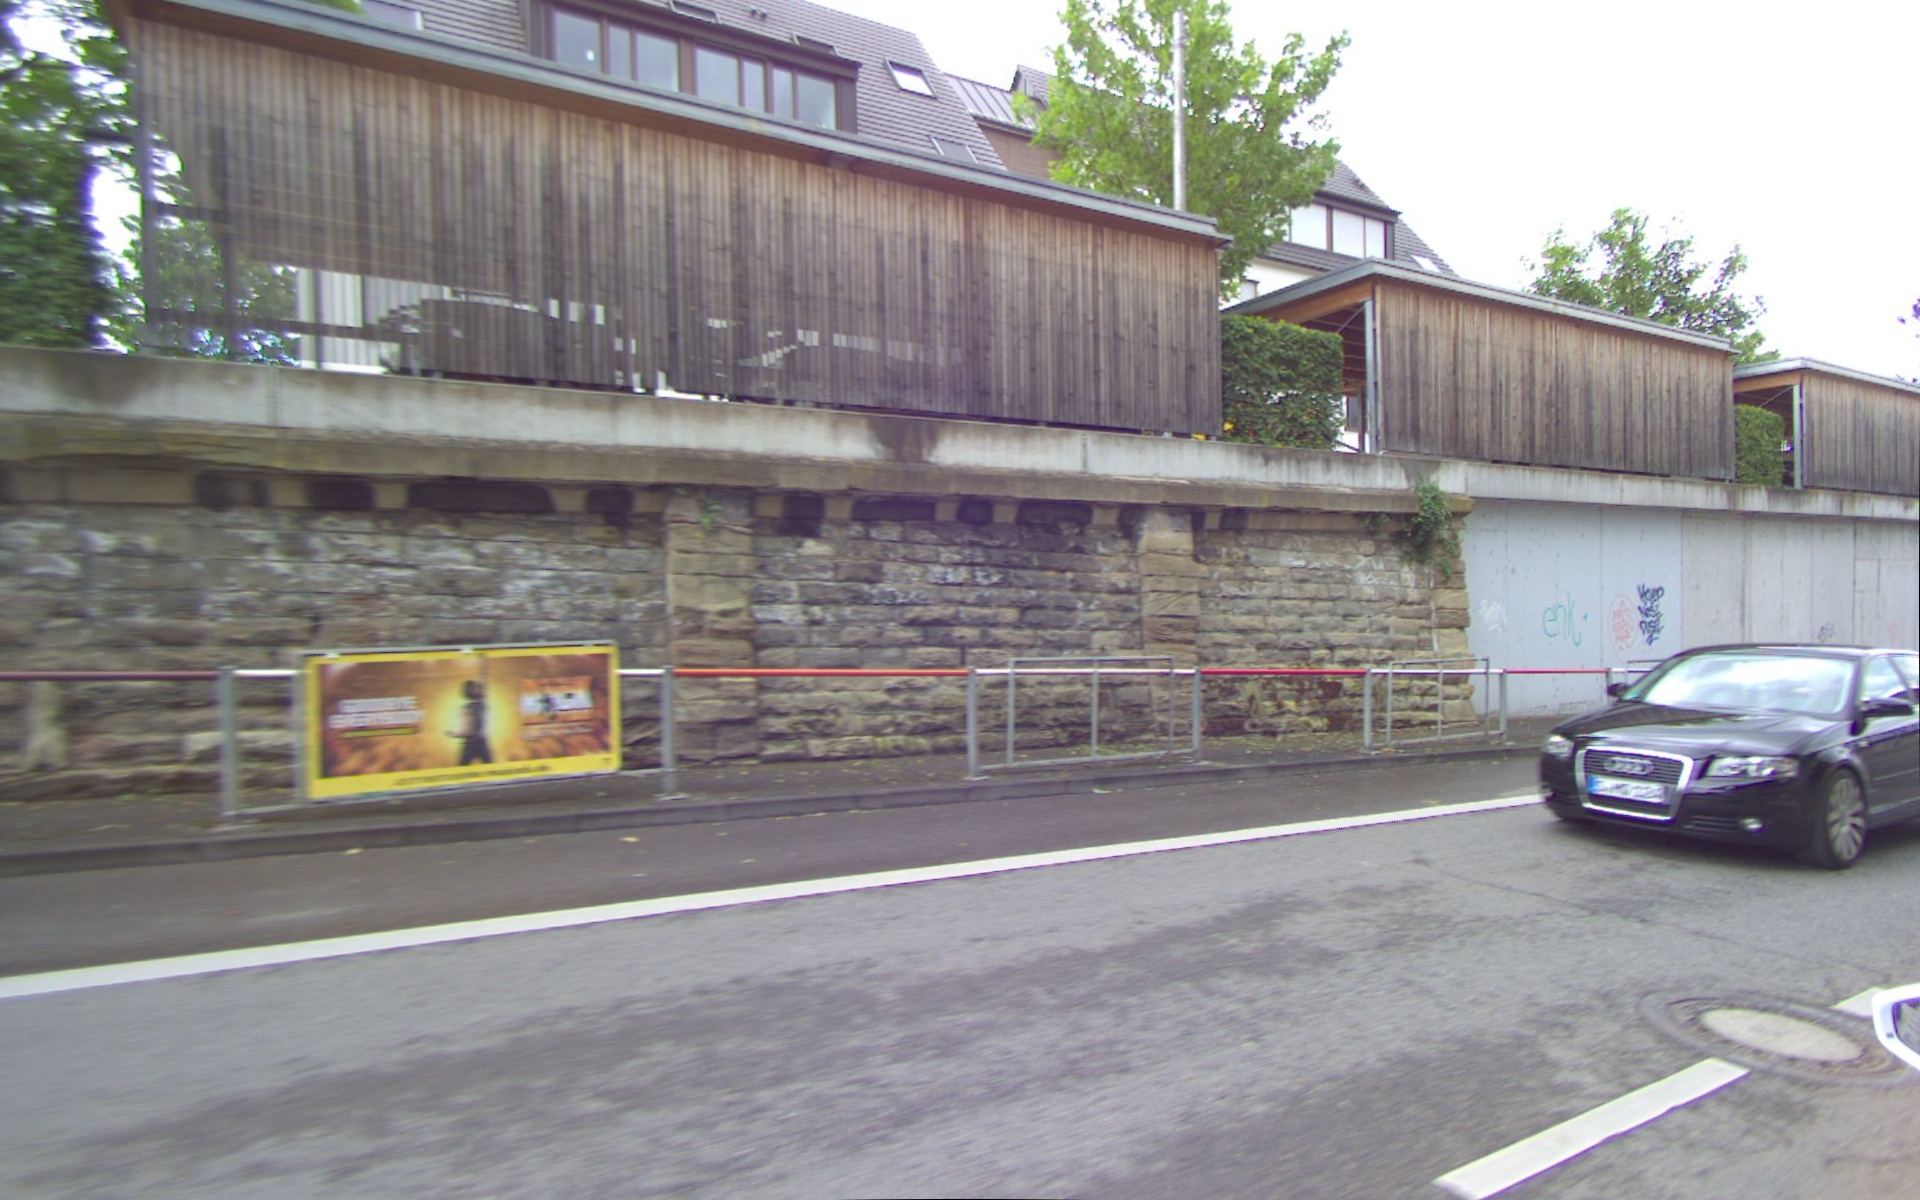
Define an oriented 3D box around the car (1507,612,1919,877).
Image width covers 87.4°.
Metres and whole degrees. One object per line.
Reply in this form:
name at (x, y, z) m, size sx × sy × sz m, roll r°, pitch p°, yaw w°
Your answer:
car at (6.161, 0.908, 7.634) m, size 3.953 × 1.553 × 1.727 m, roll 2°, pitch -1°, yaw -30°
